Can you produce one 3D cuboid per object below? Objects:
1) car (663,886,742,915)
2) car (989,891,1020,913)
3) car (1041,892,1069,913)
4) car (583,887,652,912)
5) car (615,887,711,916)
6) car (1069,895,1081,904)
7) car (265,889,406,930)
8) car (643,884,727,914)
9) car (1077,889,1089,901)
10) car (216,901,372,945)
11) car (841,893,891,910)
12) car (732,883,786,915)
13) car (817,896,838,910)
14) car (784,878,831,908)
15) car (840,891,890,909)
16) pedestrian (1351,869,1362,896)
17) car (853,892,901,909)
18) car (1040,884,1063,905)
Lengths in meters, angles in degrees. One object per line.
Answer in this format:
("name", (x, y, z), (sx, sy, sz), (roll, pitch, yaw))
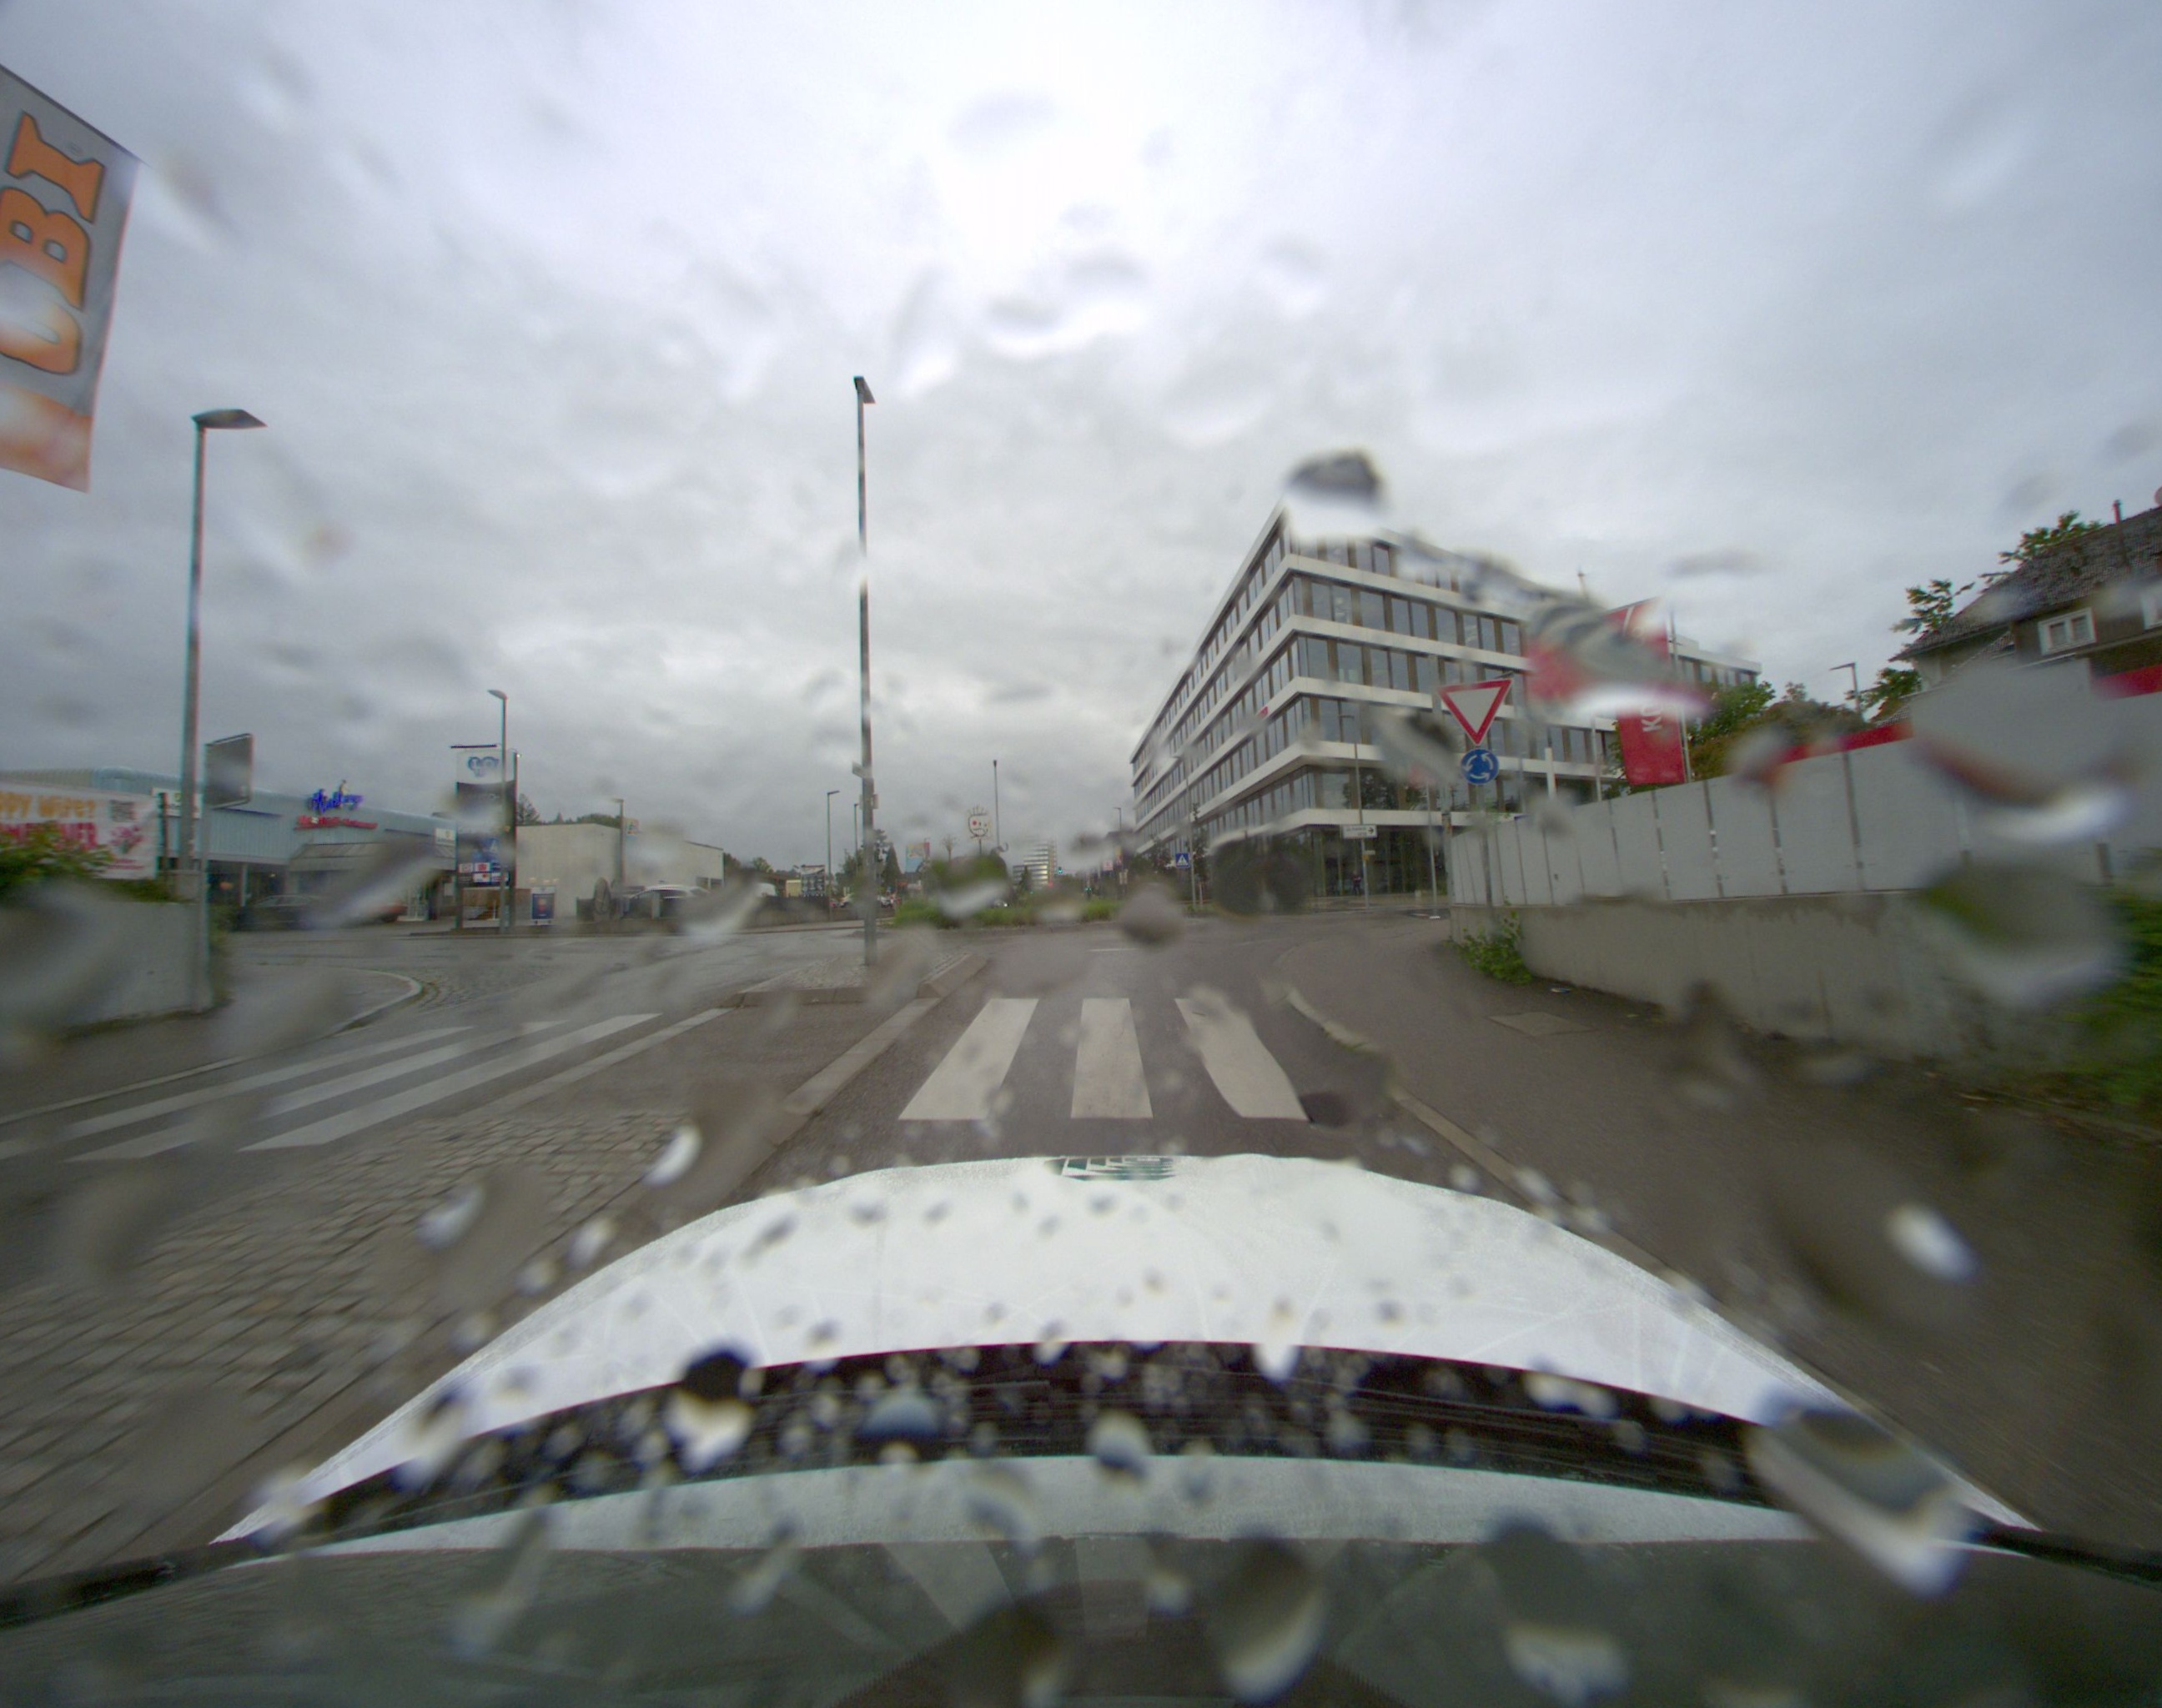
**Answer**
("car", (-20.234, 2.521, 43.674), (3.523, 1.420, 1.427), (-1, -4, -4))
("car", (-5.130, 3.268, 54.959), (1.589, 1.410, 3.500), (-2, -4, 2))
("car", (-1.909, 3.646, 60.958), (1.787, 1.410, 3.422), (-2, -4, 2))
("car", (-29.658, 2.900, 52.133), (3.523, 1.420, 1.427), (-1, -1, -4))
("car", (-19.818, 2.273, 38.776), (3.523, 1.286, 1.997), (-1, -4, -4))
("car", (-0.972, 7.744, 138.438), (1.787, 1.410, 4.216), (-1, -4, 2))
("car", (-32.226, 2.401, 35.349), (3.989, 1.618, 1.992), (-1, -4, -12))
("car", (-20.001, 2.287, 41.199), (3.523, 1.420, 1.427), (-1, -4, -4))
("car", (0.337, 7.526, 149.124), (1.986, 2.014, 5.002), (-2, -1, 2))
("car", (-31.683, 2.765, 32.933), (3.989, 1.618, 1.992), (-1, -4, -12))
("car", (-19.273, 4.264, 73.065), (4.014, 1.420, 1.765), (-1, -4, -4))
("car", (-22.253, 3.067, 56.504), (1.990, 2.014, 4.992), (-2, -1, -4))
("car", (-24.309, 4.710, 78.100), (1.293, 1.197, 2.702), (-2, -1, -3))
("car", (-20.173, 2.819, 60.207), (1.989, 2.014, 4.994), (-2, -1, -3))
("car", (-18.832, 3.998, 71.177), (4.018, 1.420, 1.764), (-1, -4, -7))
("pedestrian", (19.182, 1.970, 56.693), (0.589, 1.844, 0.456), (-3, -4, 20))
("car", (-18.782, 4.302, 75.229), (4.014, 1.420, 1.765), (-1, -4, -4))
("car", (-2.867, 3.995, 80.118), (1.986, 1.904, 4.000), (-2, -4, 2))
